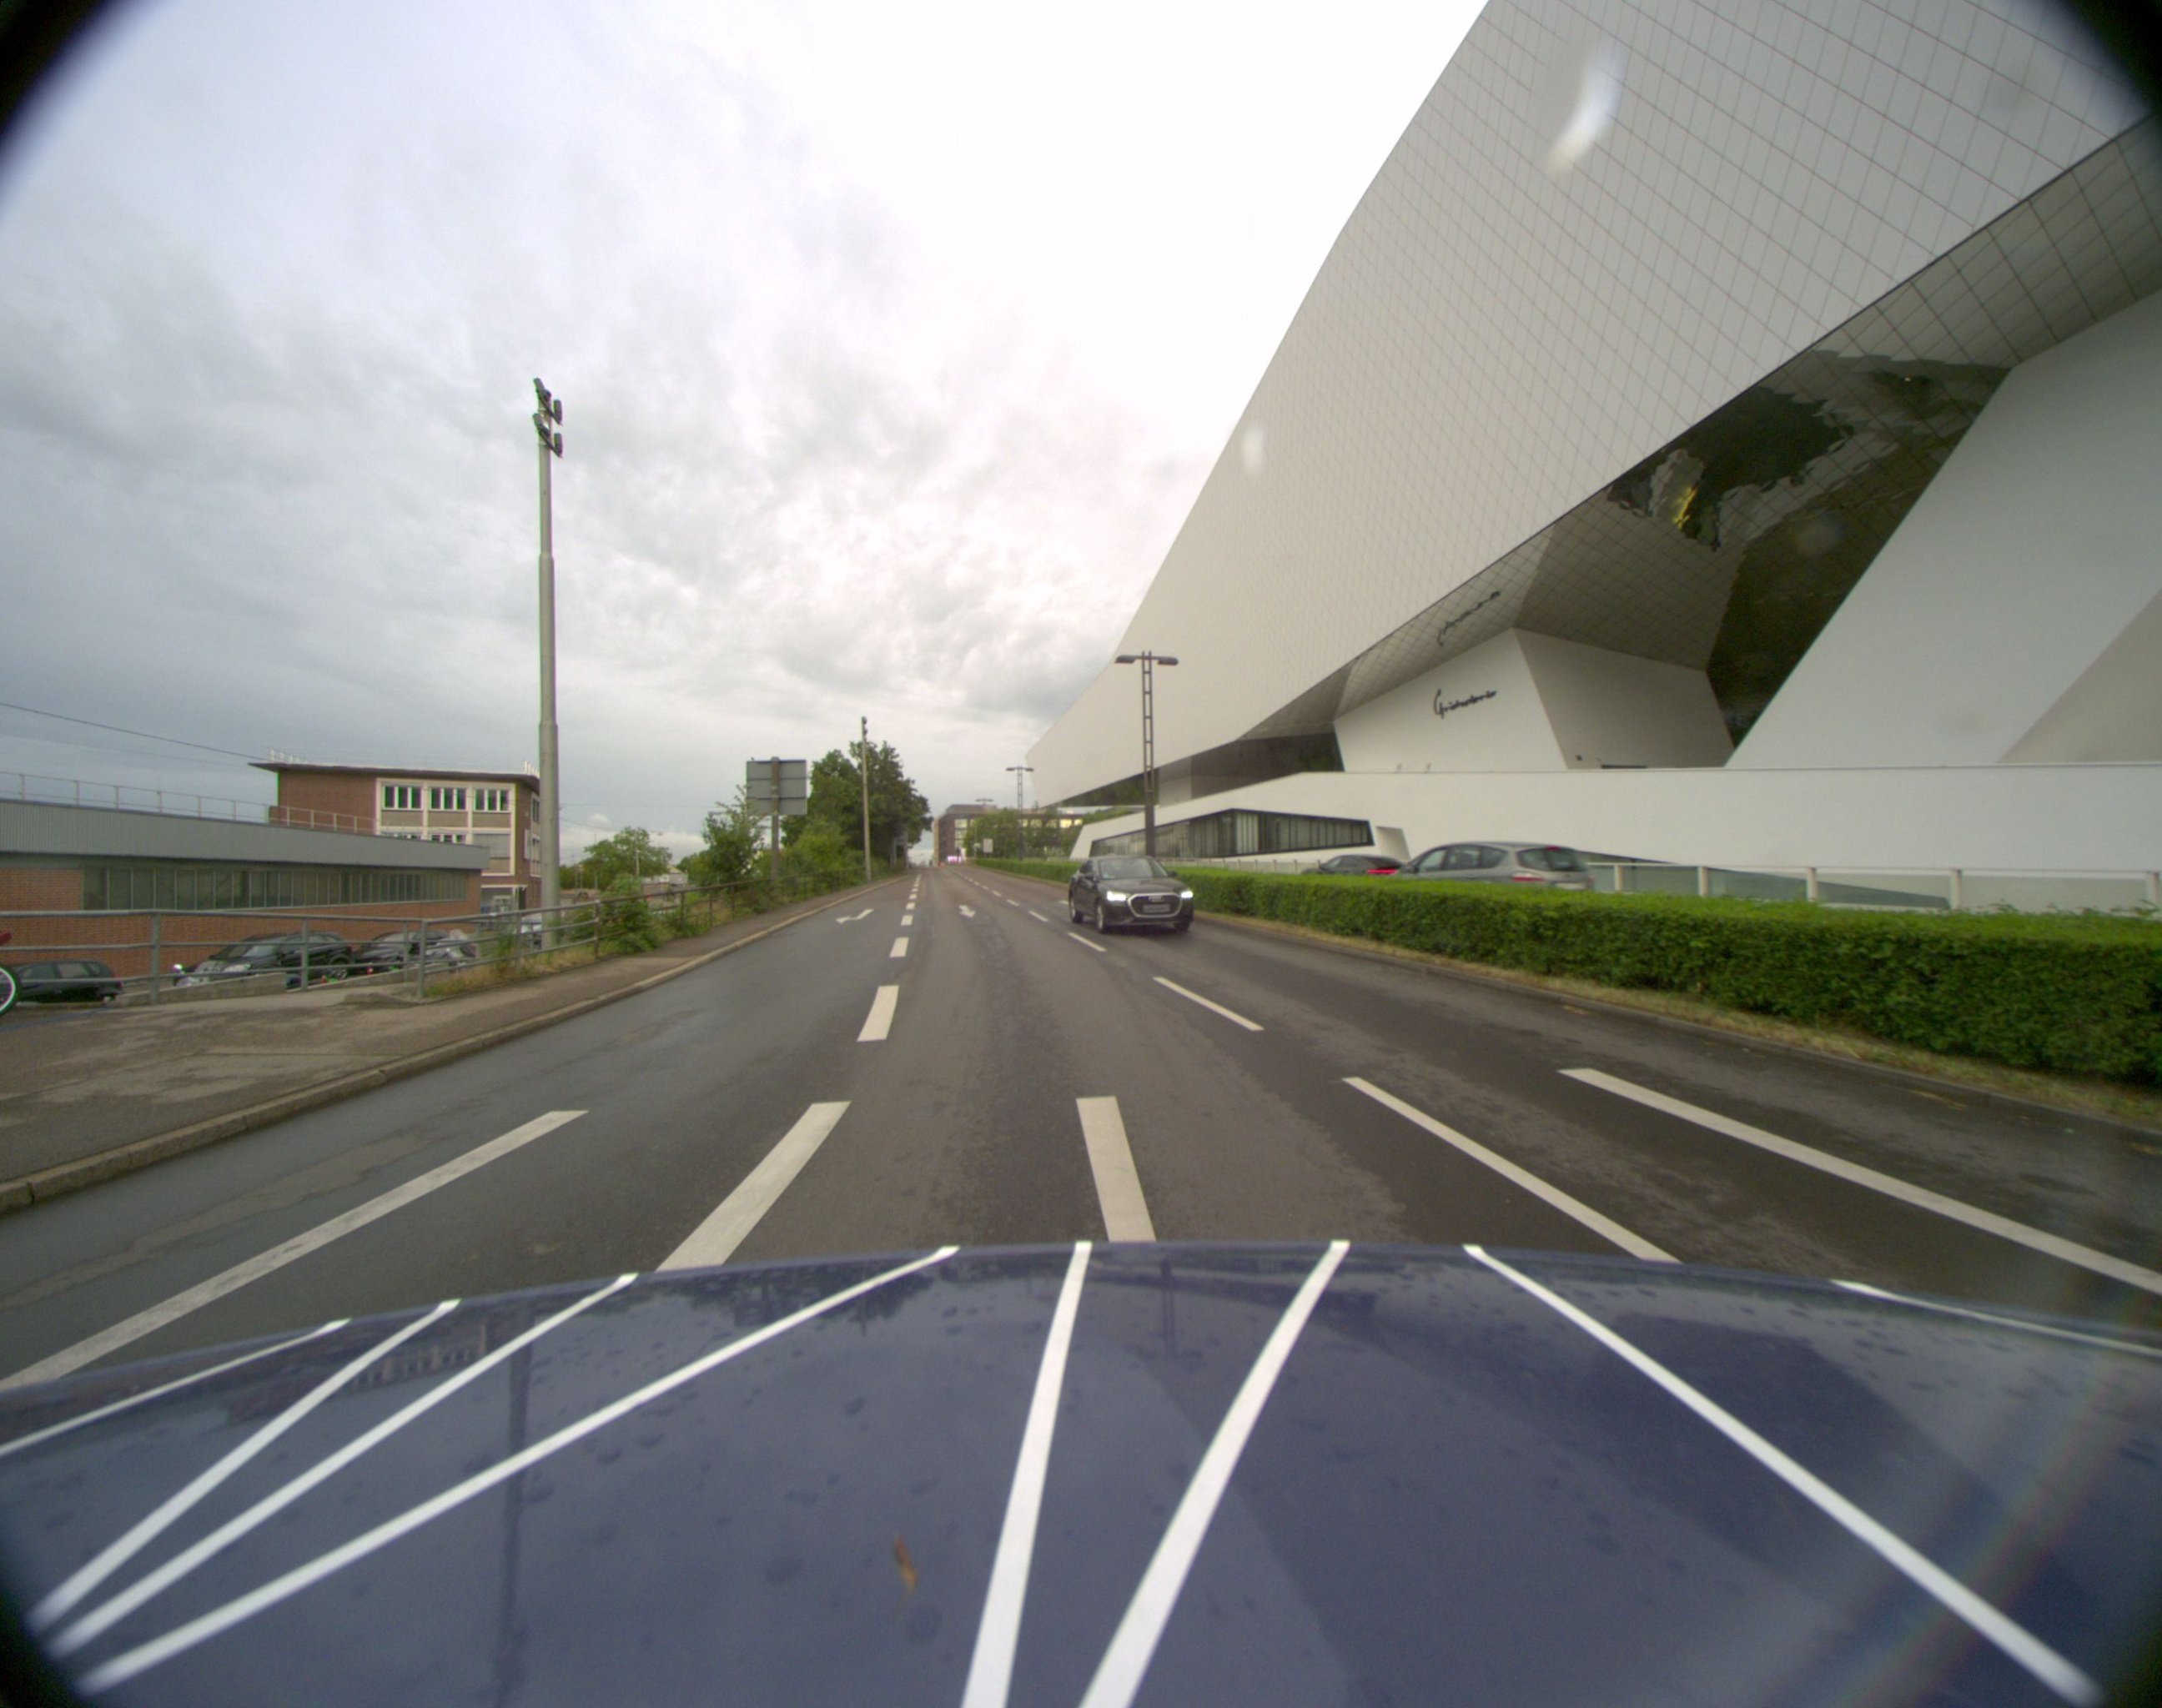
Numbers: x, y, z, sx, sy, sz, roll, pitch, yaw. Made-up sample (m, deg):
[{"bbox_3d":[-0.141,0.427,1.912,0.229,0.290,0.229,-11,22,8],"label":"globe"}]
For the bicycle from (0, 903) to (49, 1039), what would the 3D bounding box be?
[{"bbox_3d":[-10.572,1.061,6.531,1.935,1.171,0.598,-1,1,-26],"label":"bicycle"}]

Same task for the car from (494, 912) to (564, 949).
[{"bbox_3d":[-29.989,4.119,41.393,1.704,1.546,3.852,-1,0,-14],"label":"car"}]

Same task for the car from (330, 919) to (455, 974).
[{"bbox_3d":[-25.716,3.416,28.565,1.704,1.546,3.853,-1,0,-12],"label":"car"}]

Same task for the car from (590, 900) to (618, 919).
[{"bbox_3d":[-42.011,4.828,66.978,1.670,1.387,3.992,-2,0,-27],"label":"car"}]

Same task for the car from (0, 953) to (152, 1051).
[{"bbox_3d":[-23.072,3.226,16.375,1.704,1.618,3.927,-1,0,-11],"label":"car"}]

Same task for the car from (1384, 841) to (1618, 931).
[{"bbox_3d":[7.912,0.535,14.806,1.839,1.485,3.996,-1,0,-11],"label":"car"}]

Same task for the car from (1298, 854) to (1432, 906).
[{"bbox_3d":[8.982,0.771,24.490,1.840,1.463,4.508,-1,0,-13],"label":"car"}]

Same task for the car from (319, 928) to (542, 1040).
[{"bbox_3d":[-12.794,2.463,15.294,1.704,1.546,3.853,-1,0,-12],"label":"car"}]

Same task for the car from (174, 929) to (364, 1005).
[{"bbox_3d":[-24.310,3.310,23.021,1.638,1.621,4.425,-1,0,-12],"label":"car"}]

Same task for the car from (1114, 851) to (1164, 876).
[{"bbox_3d":[3.235,0.547,43.331,1.852,1.330,3.996,-1,0,-10],"label":"car"}]

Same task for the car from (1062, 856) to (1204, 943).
[{"bbox_3d":[0.938,0.841,16.269,1.843,1.574,4.284,-1,0,-13],"label":"car"}]
